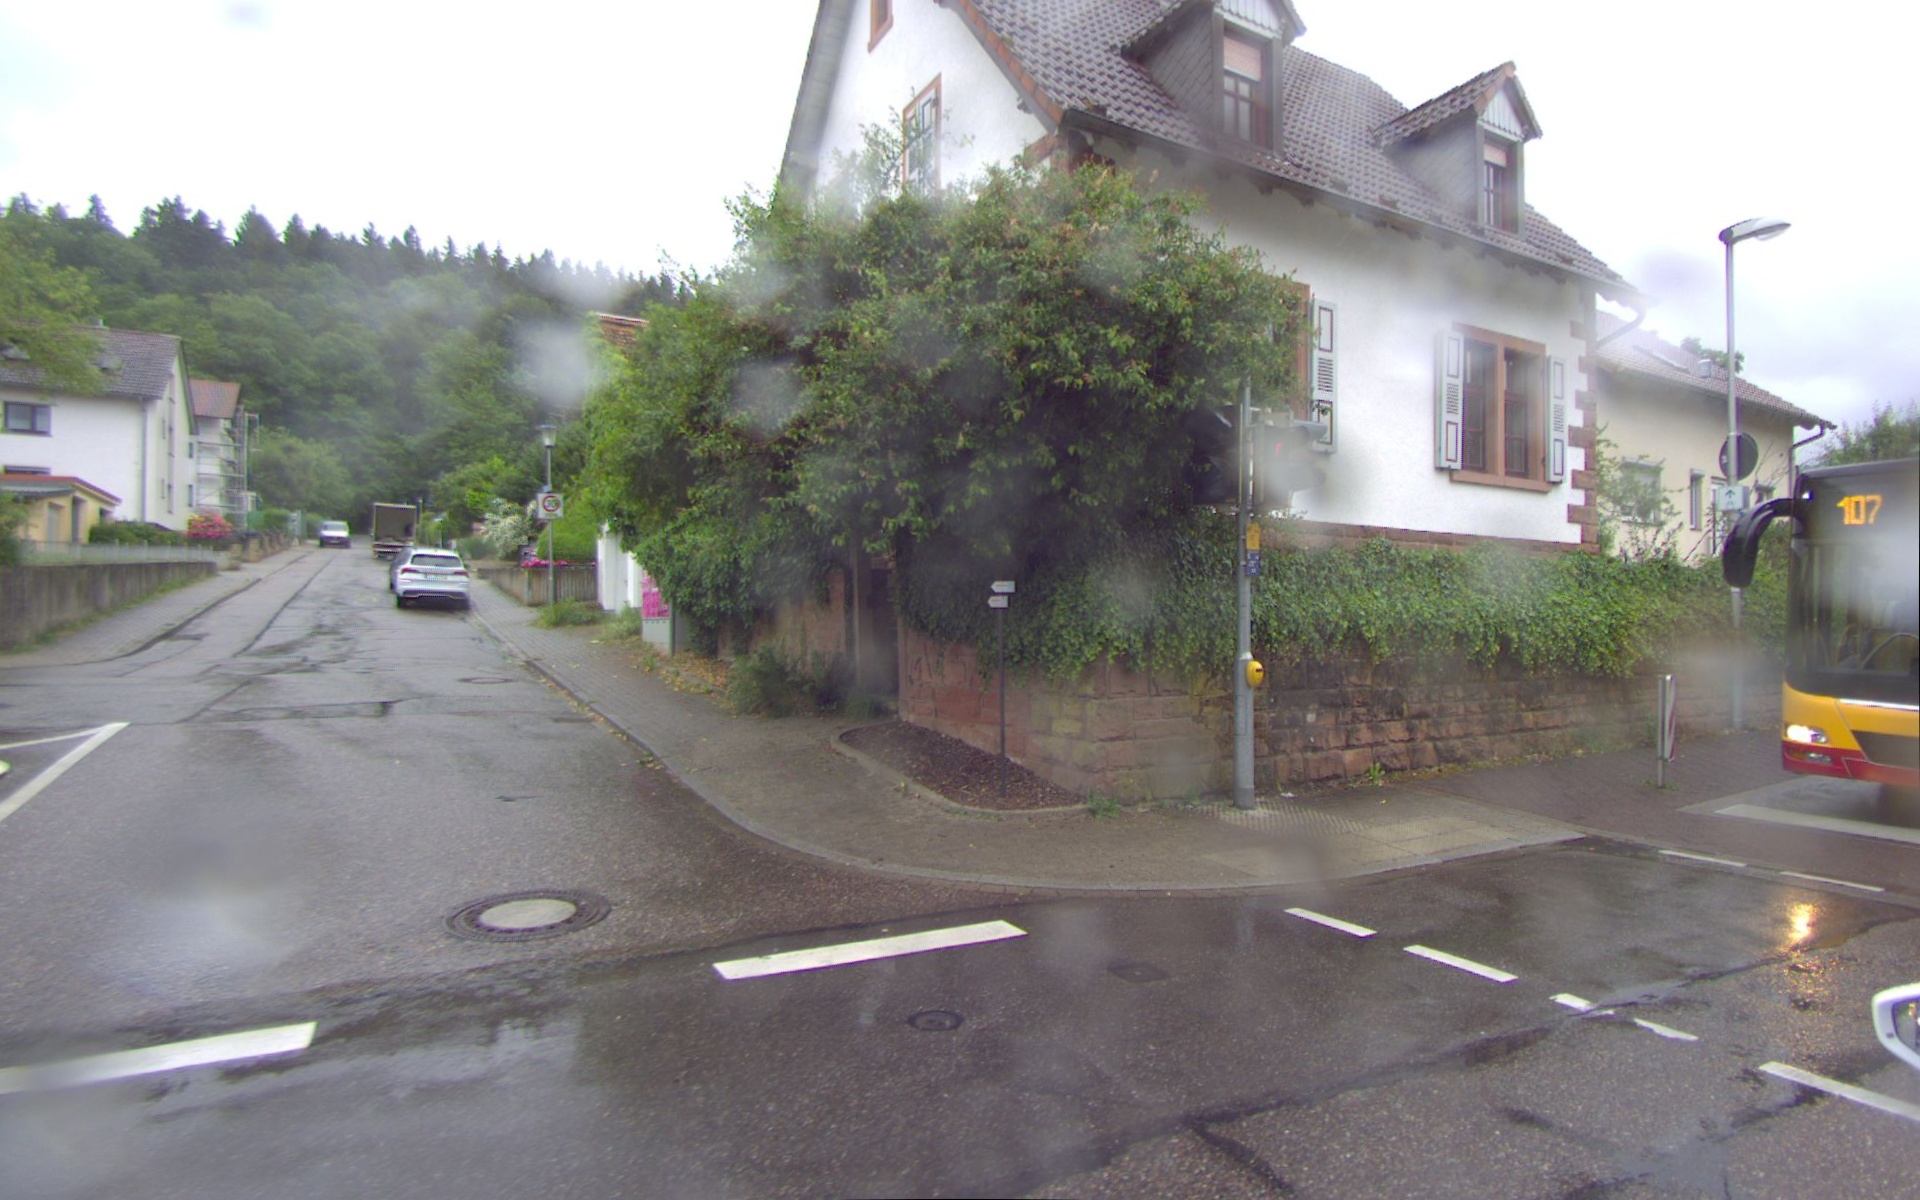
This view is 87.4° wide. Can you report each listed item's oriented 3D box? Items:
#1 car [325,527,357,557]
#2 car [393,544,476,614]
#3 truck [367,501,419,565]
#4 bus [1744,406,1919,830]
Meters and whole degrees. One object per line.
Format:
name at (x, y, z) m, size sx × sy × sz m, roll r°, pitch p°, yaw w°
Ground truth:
car at (-45.960, -4.287, 74.597) m, size 1.896 × 2.040 × 3.963 m, roll 2°, pitch 1°, yaw -33°
car at (-14.546, -0.618, 27.775) m, size 1.877 × 1.535 × 3.861 m, roll 2°, pitch 5°, yaw -29°
truck at (-32.832, -3.772, 58.325) m, size 2.423 × 3.397 × 6.606 m, roll 2°, pitch 1°, yaw -29°
bus at (12.082, 0.086, 10.271) m, size 12.058 × 3.040 × 2.634 m, roll 0°, pitch 0°, yaw -33°
